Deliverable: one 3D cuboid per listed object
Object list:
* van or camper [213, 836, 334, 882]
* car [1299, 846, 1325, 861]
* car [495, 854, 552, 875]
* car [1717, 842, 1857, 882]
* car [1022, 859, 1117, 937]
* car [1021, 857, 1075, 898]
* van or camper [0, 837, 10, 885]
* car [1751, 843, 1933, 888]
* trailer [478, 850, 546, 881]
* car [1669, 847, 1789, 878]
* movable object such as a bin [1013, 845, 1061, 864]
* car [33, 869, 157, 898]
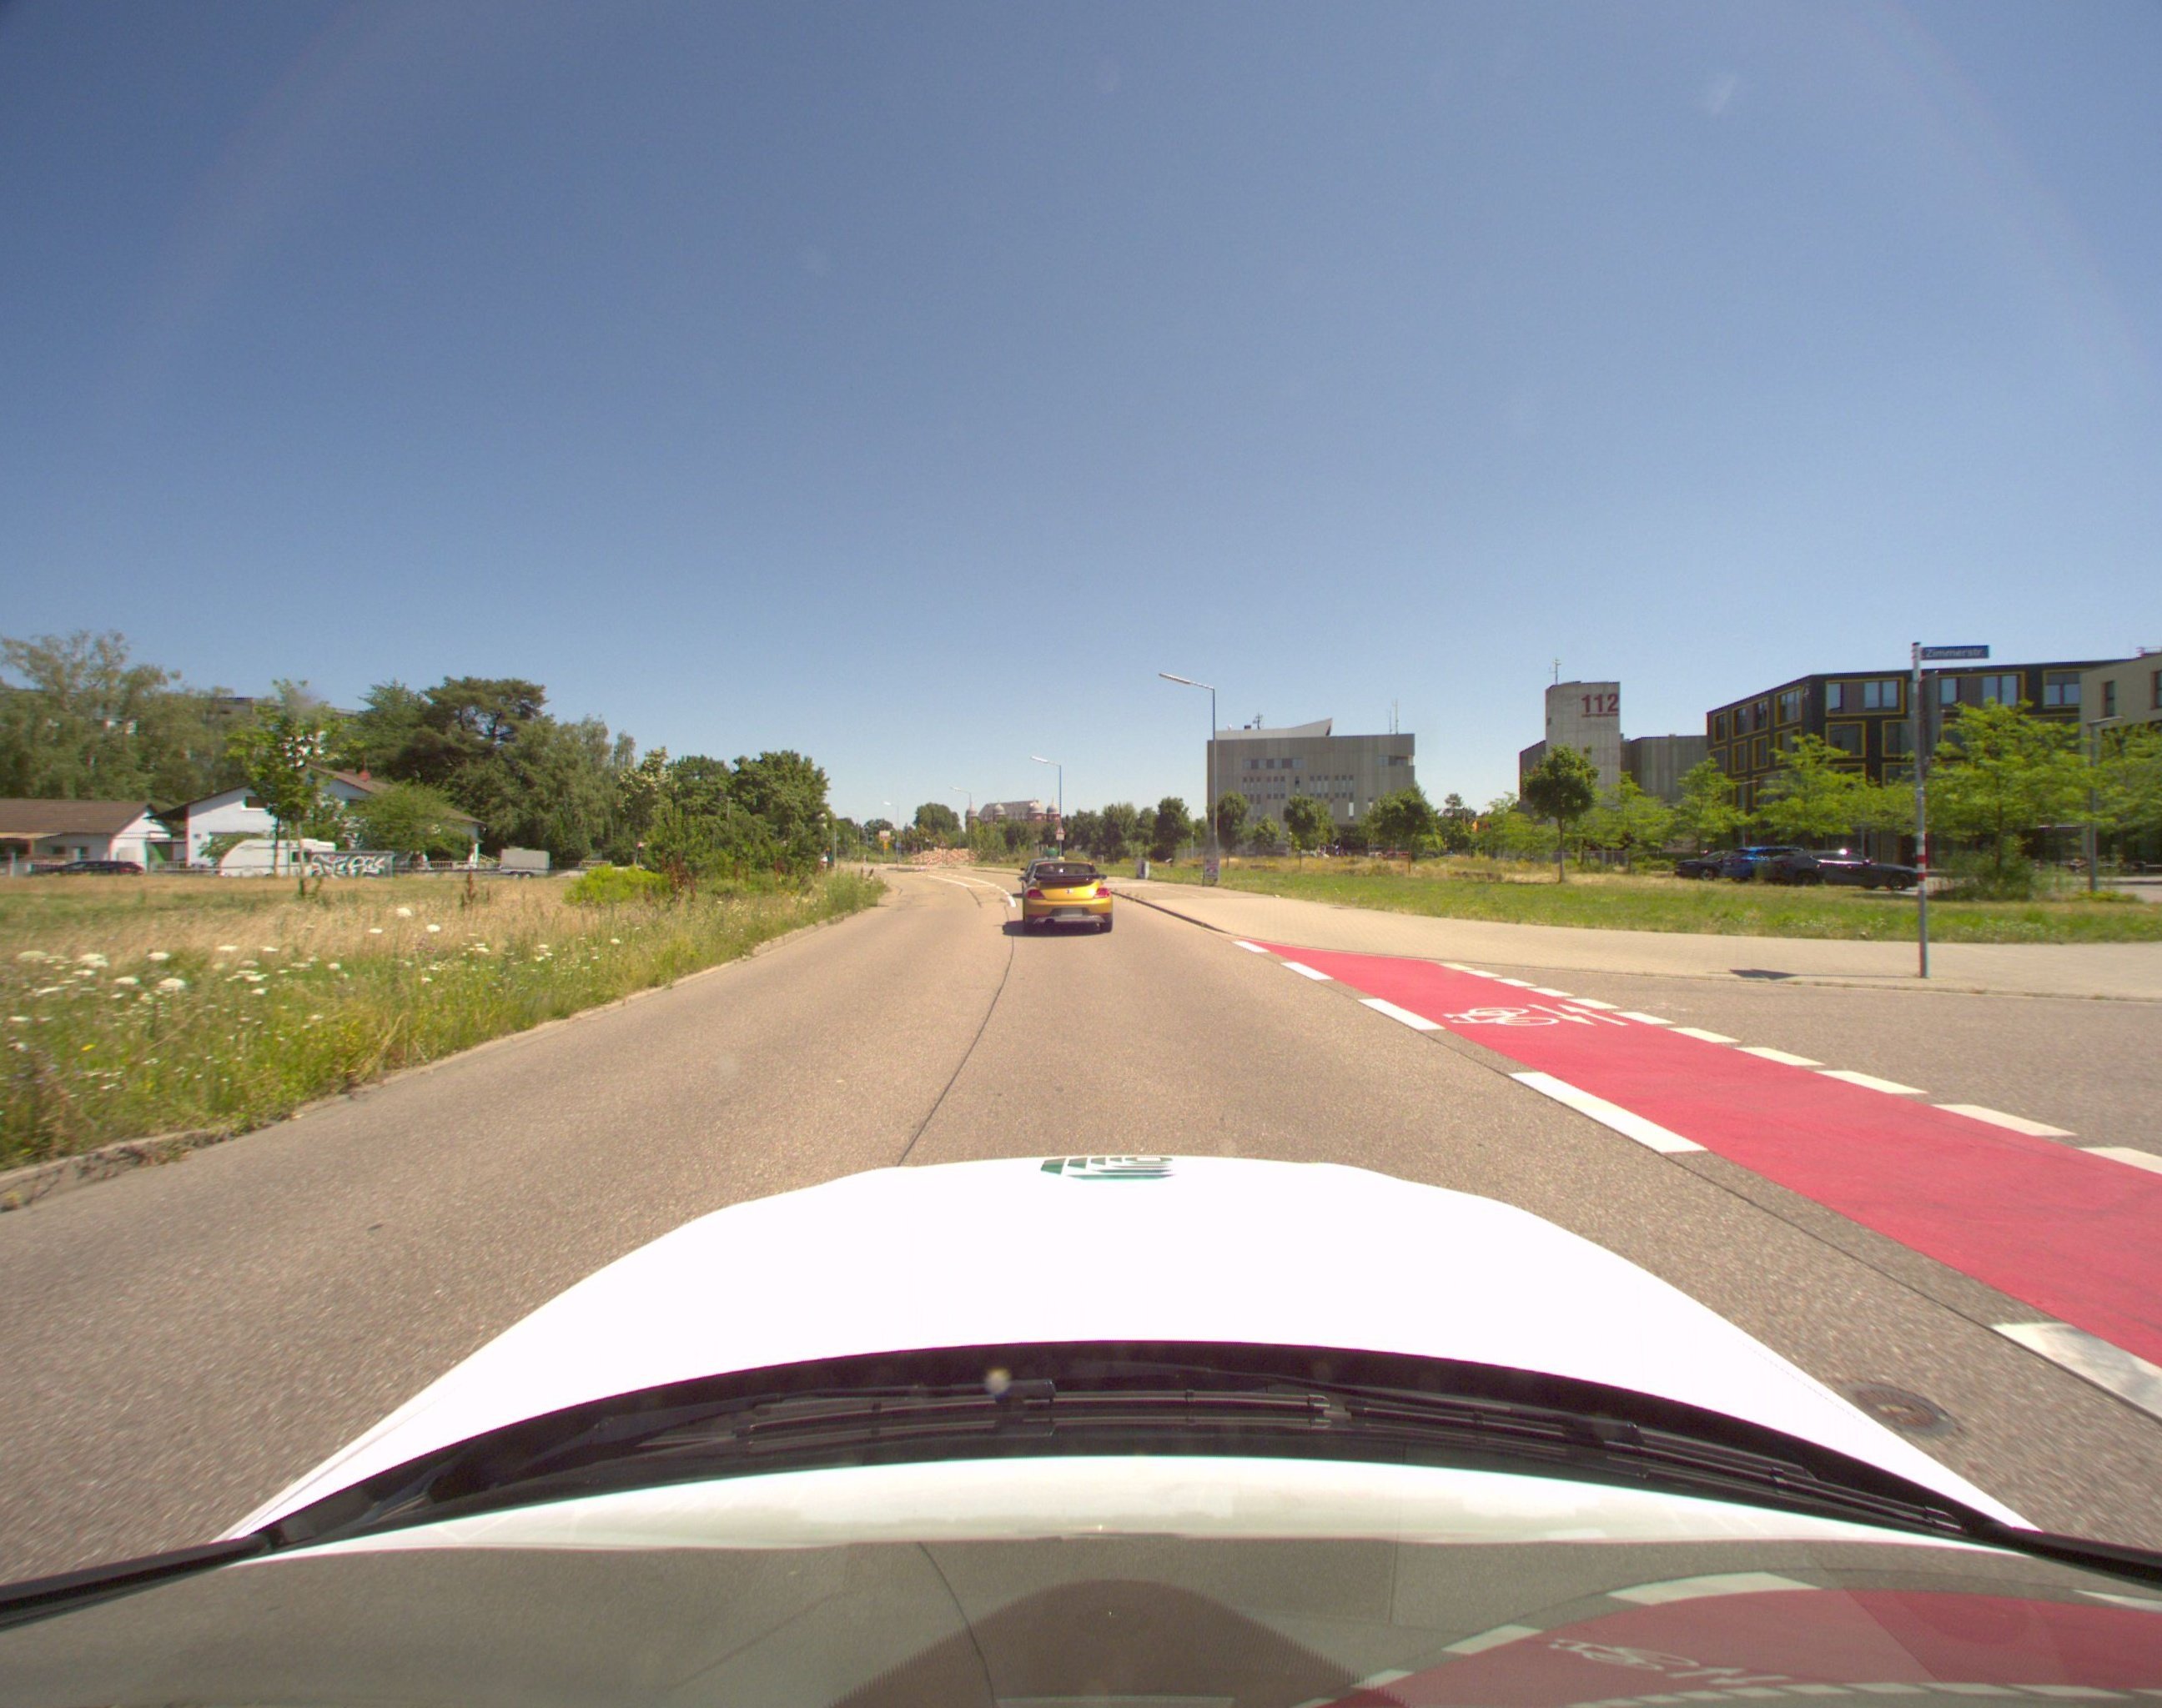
[{"bbox_3d":[-48.466,0.338,49.013,4.473,2.591,2.472,2,-1,-25],"label":"van or camper"},{"bbox_3d":[36.465,-0.048,128.432,3.813,2.294,1.750,0,0,16],"label":"car"},{"bbox_3d":[-43.065,0.768,62.998,3.349,1.577,1.759,0,0,-24],"label":"car"},{"bbox_3d":[29.666,0.333,34.368,4.028,1.652,1.962,0,0,15],"label":"car"},{"bbox_3d":[-0.342,0.837,17.268,1.786,1.436,3.808,0,0,-4],"label":"car"},{"bbox_3d":[-1.338,0.850,31.388,1.725,1.443,3.989,0,0,-8],"label":"car"},{"bbox_3d":[-61.406,0.378,42.617,5.981,2.593,2.451,0,0,-26],"label":"van or camper"},{"bbox_3d":[27.876,0.418,30.016,4.461,1.562,2.040,0,0,14],"label":"car"},{"bbox_3d":[-38.127,0.768,54.664,3.430,2.045,1.746,0,-1,-25],"label":"trailer"},{"bbox_3d":[31.065,0.420,39.178,4.088,1.444,1.967,0,0,9],"label":"car"},{"bbox_3d":[-8.059,0.115,147.295,4.967,3.260,10.374,0,0,-28],"label":"movable object such as a bin"},{"bbox_3d":[-55.369,1.632,45.846,4.004,1.552,1.901,0,0,-23],"label":"car"}]
